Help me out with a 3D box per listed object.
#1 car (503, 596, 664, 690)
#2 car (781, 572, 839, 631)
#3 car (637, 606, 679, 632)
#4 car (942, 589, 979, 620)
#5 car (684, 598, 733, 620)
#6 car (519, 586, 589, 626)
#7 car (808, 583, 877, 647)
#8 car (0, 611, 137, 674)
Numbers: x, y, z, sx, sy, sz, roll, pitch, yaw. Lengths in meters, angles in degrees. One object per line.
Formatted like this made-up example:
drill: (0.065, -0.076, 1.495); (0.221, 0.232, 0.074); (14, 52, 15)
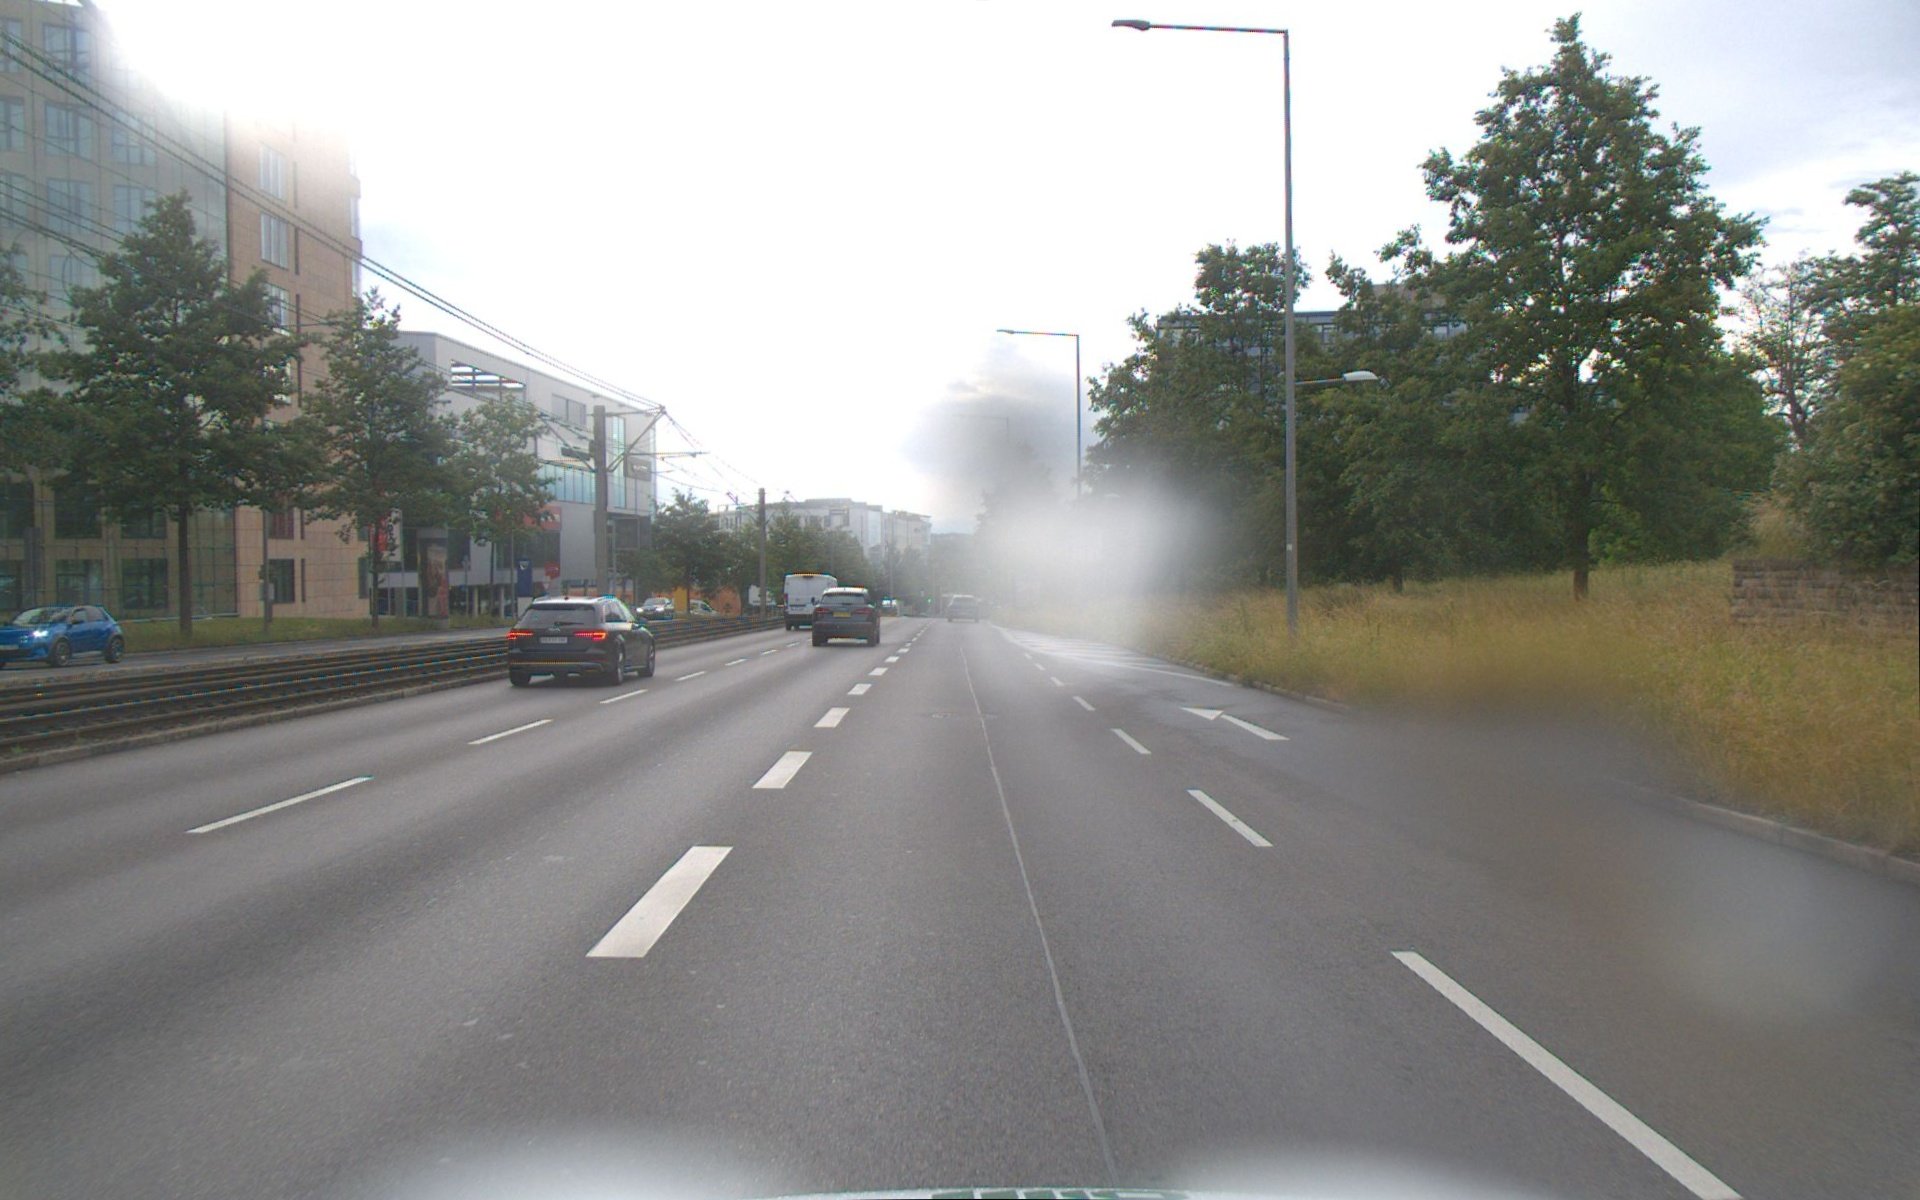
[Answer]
car: (-6.266, 0.655, 28.048); (1.750, 1.438, 4.804); (1, 0, -2)
car: (-6.222, 0.056, 69.155); (2.223, 2.325, 4.756); (1, 0, -3)
car: (-19.457, 1.221, 106.770); (1.803, 1.512, 4.653); (-3, 0, 0)
car: (-0.001, 0.267, 91.778); (1.754, 1.619, 3.997); (-1, 0, -4)
car: (-28.243, 1.055, 185.843); (5.199, 2.353, 2.018); (1, -2, -5)
car: (-16.738, 0.260, 68.379); (1.735, 1.528, 4.200); (1, -2, 2)
car: (-3.411, 0.410, 48.323); (1.884, 1.740, 4.095); (1, 0, -4)
car: (-22.460, 1.053, 41.238); (1.803, 1.479, 4.023); (1, -2, 0)
